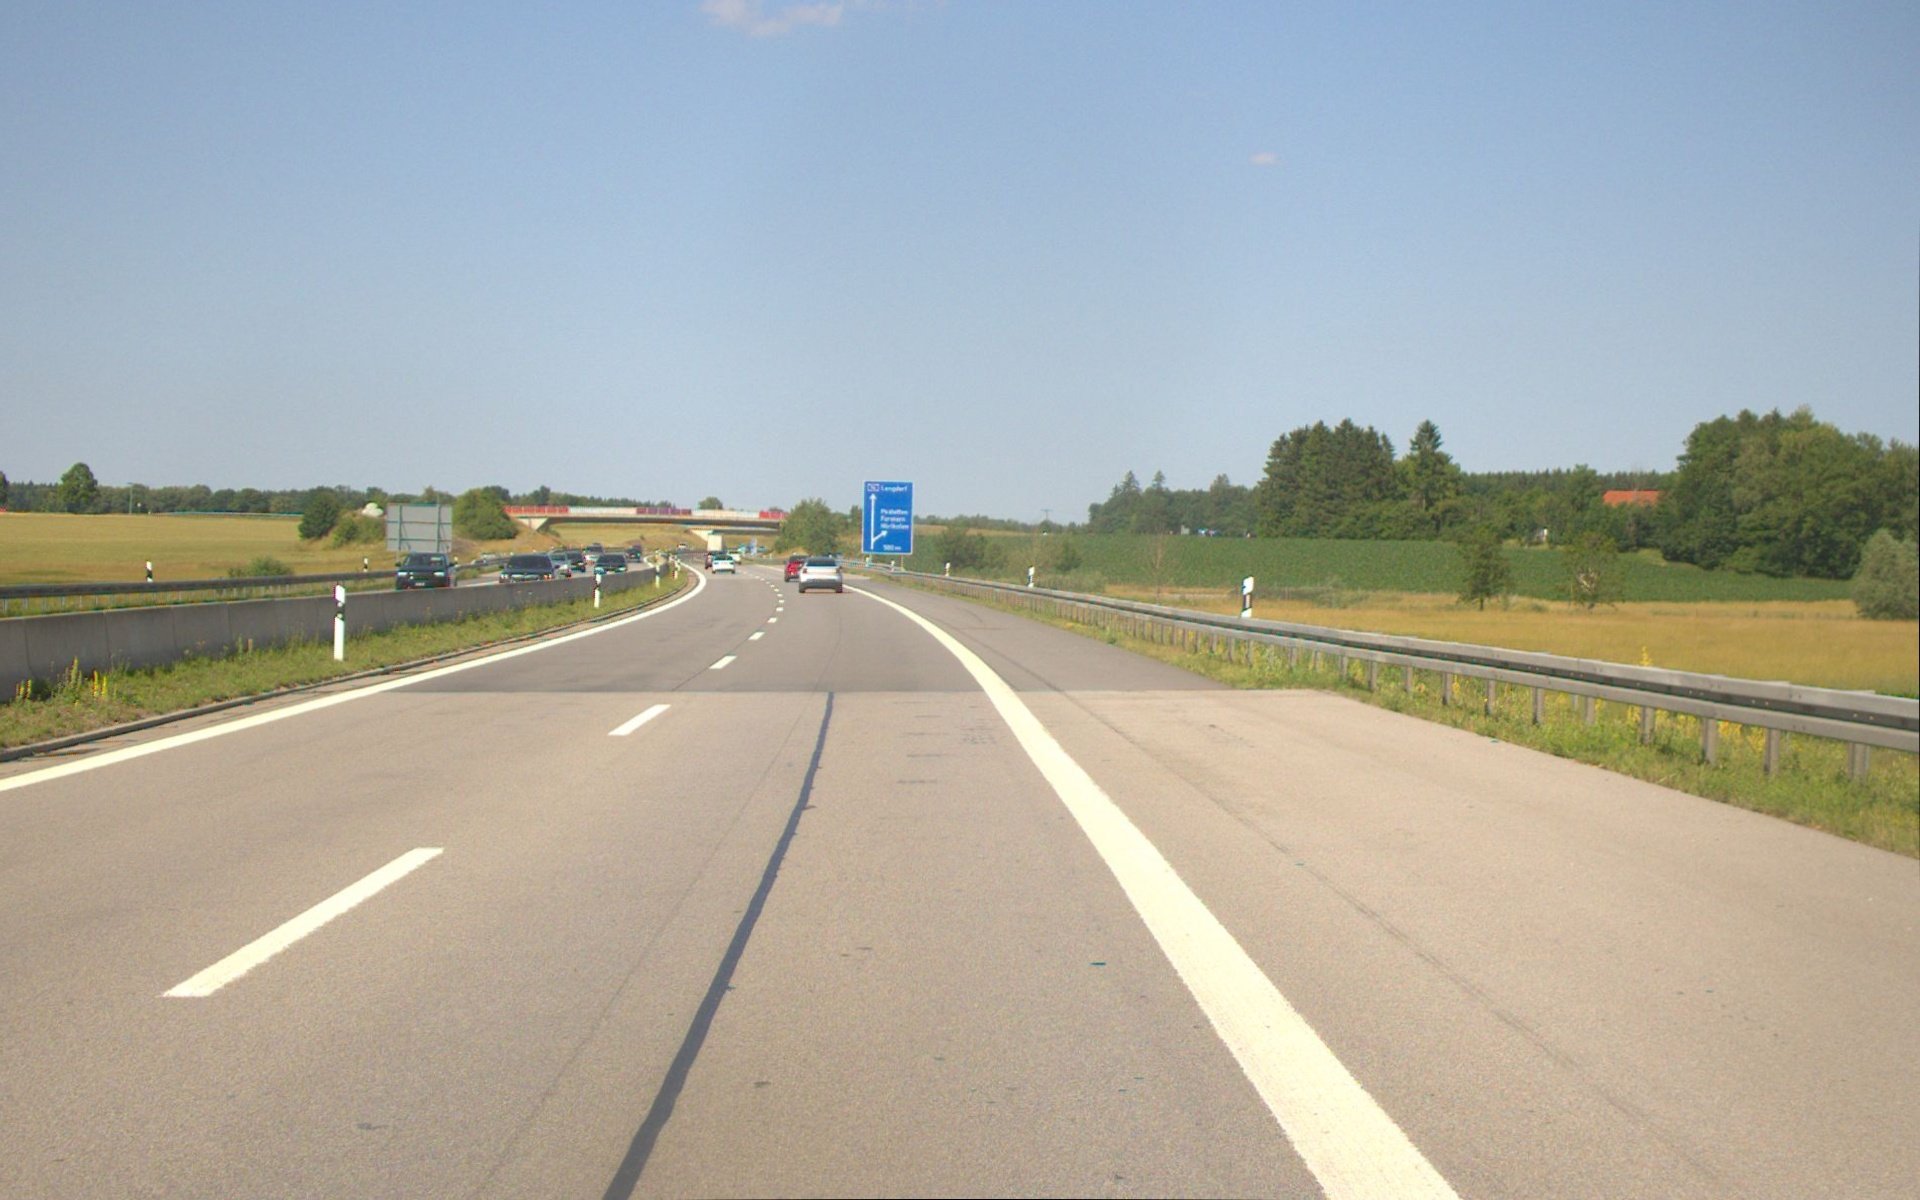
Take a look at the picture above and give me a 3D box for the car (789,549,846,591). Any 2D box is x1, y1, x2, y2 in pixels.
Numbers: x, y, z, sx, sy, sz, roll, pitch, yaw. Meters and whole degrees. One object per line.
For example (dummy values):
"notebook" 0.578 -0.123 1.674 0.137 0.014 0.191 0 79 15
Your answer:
"car" -6.180 -1.303 148.597 1.993 1.725 4.870 1 1 -7

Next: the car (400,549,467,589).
"car" -18.616 -1.115 121.786 1.822 1.360 4.664 0 1 -2

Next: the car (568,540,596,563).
"car" -27.532 -3.539 250.476 1.858 1.579 4.915 0 1 -5

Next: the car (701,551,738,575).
"car" -18.107 -2.825 258.751 1.993 1.725 4.871 1 1 -13

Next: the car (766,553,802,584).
"car" -10.196 -1.809 198.952 1.993 1.725 4.870 1 1 -4

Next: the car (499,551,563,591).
"car" -15.059 -1.032 120.887 1.822 1.360 5.198 0 1 -2

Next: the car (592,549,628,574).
"car" -19.735 -2.201 193.982 1.822 1.360 4.661 0 1 -4
